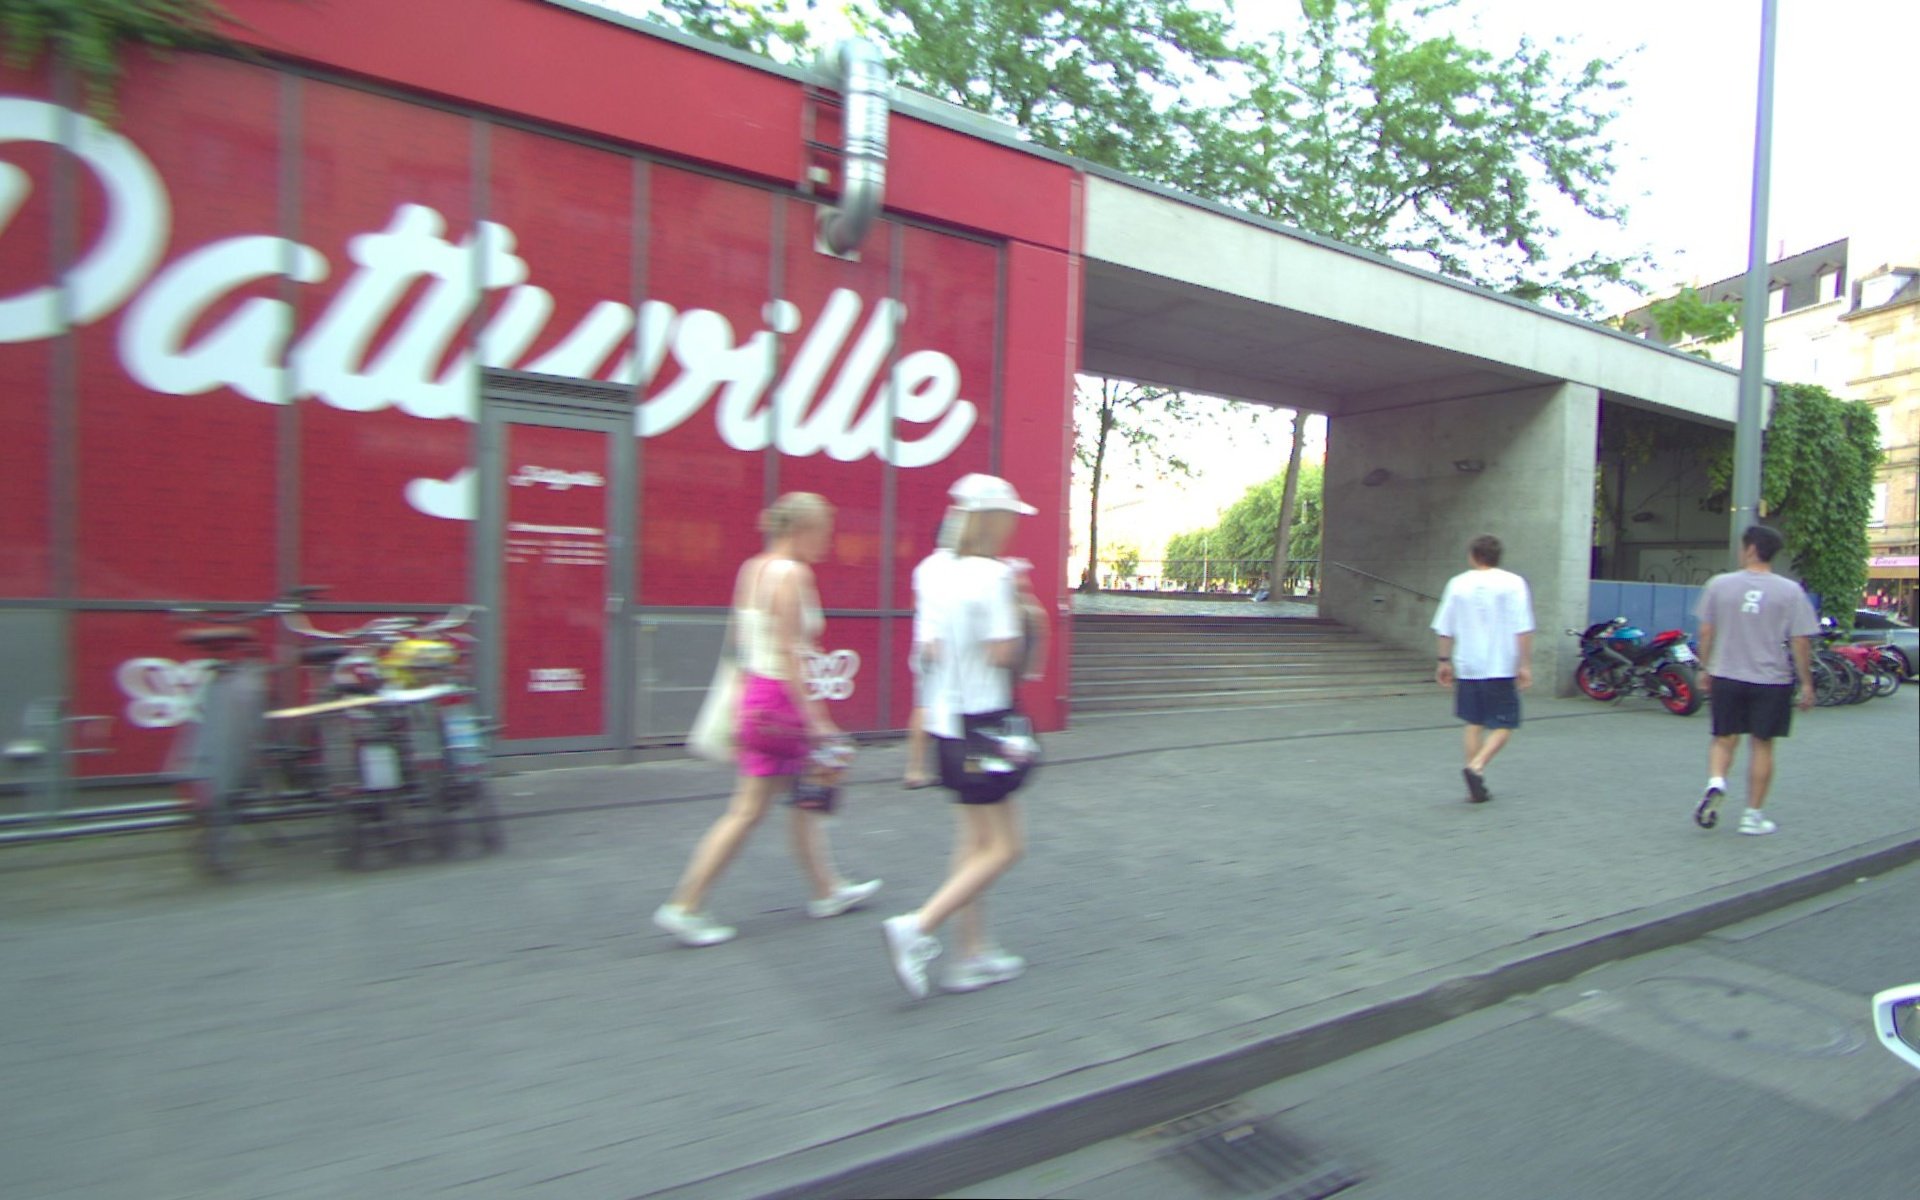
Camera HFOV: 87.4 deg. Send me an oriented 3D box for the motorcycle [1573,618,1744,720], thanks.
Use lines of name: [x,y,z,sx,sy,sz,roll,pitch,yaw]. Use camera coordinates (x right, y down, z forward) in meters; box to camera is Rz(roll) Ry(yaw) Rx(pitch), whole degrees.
motorcycle: [8.739,0.828,12.678,0.750,1.078,1.804,2,2,-5]

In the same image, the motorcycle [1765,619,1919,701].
motorcycle: [13.835,0.922,15.777,1.718,1.116,0.566,3,2,25]

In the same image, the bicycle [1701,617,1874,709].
bicycle: [11.756,0.864,14.333,0.495,1.122,1.783,1,3,-33]

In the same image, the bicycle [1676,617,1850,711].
bicycle: [11.144,0.852,14.002,0.495,1.122,1.782,1,3,-35]

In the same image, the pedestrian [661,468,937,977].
pedestrian: [-0.665,0.419,4.023,0.837,1.773,0.749,0,3,-31]

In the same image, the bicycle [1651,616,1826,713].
bicycle: [10.503,0.836,13.631,0.494,1.122,1.786,1,2,-28]

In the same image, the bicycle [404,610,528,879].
bicycle: [-2.650,0.655,5.369,0.494,1.122,1.787,1,2,-27]

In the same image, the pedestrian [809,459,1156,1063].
pedestrian: [0.070,0.472,3.470,0.974,1.774,0.645,0,2,-32]

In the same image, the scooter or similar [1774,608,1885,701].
scooter or similar: [13.145,0.802,15.202,1.191,1.291,0.419,4,3,44]

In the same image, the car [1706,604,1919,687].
car: [18.207,0.884,20.910,1.875,1.521,3.955,0,1,-38]

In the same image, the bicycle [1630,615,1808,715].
bicycle: [10.005,0.823,13.319,0.494,1.122,1.784,1,2,-31]

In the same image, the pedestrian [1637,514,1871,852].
pedestrian: [4.935,0.464,6.259,1.038,1.919,0.740,0,3,-30]

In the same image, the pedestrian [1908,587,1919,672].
pedestrian: [21.725,0.658,22.428,0.625,1.907,0.581,1,1,-25]

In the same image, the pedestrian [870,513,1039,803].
pedestrian: [-0.044,0.353,6.673,0.839,1.778,0.713,1,1,-32]

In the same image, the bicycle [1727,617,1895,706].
bicycle: [12.548,0.875,14.878,0.494,1.122,1.785,1,2,-30]

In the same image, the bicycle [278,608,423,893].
bicycle: [-3.042,0.645,5.119,0.494,1.122,1.787,1,2,-27]

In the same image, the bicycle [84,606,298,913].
bicycle: [-3.582,0.630,4.805,0.494,1.122,1.787,1,2,-27]

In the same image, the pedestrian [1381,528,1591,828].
pedestrian: [3.500,0.468,6.706,0.997,1.837,0.737,1,3,-32]
